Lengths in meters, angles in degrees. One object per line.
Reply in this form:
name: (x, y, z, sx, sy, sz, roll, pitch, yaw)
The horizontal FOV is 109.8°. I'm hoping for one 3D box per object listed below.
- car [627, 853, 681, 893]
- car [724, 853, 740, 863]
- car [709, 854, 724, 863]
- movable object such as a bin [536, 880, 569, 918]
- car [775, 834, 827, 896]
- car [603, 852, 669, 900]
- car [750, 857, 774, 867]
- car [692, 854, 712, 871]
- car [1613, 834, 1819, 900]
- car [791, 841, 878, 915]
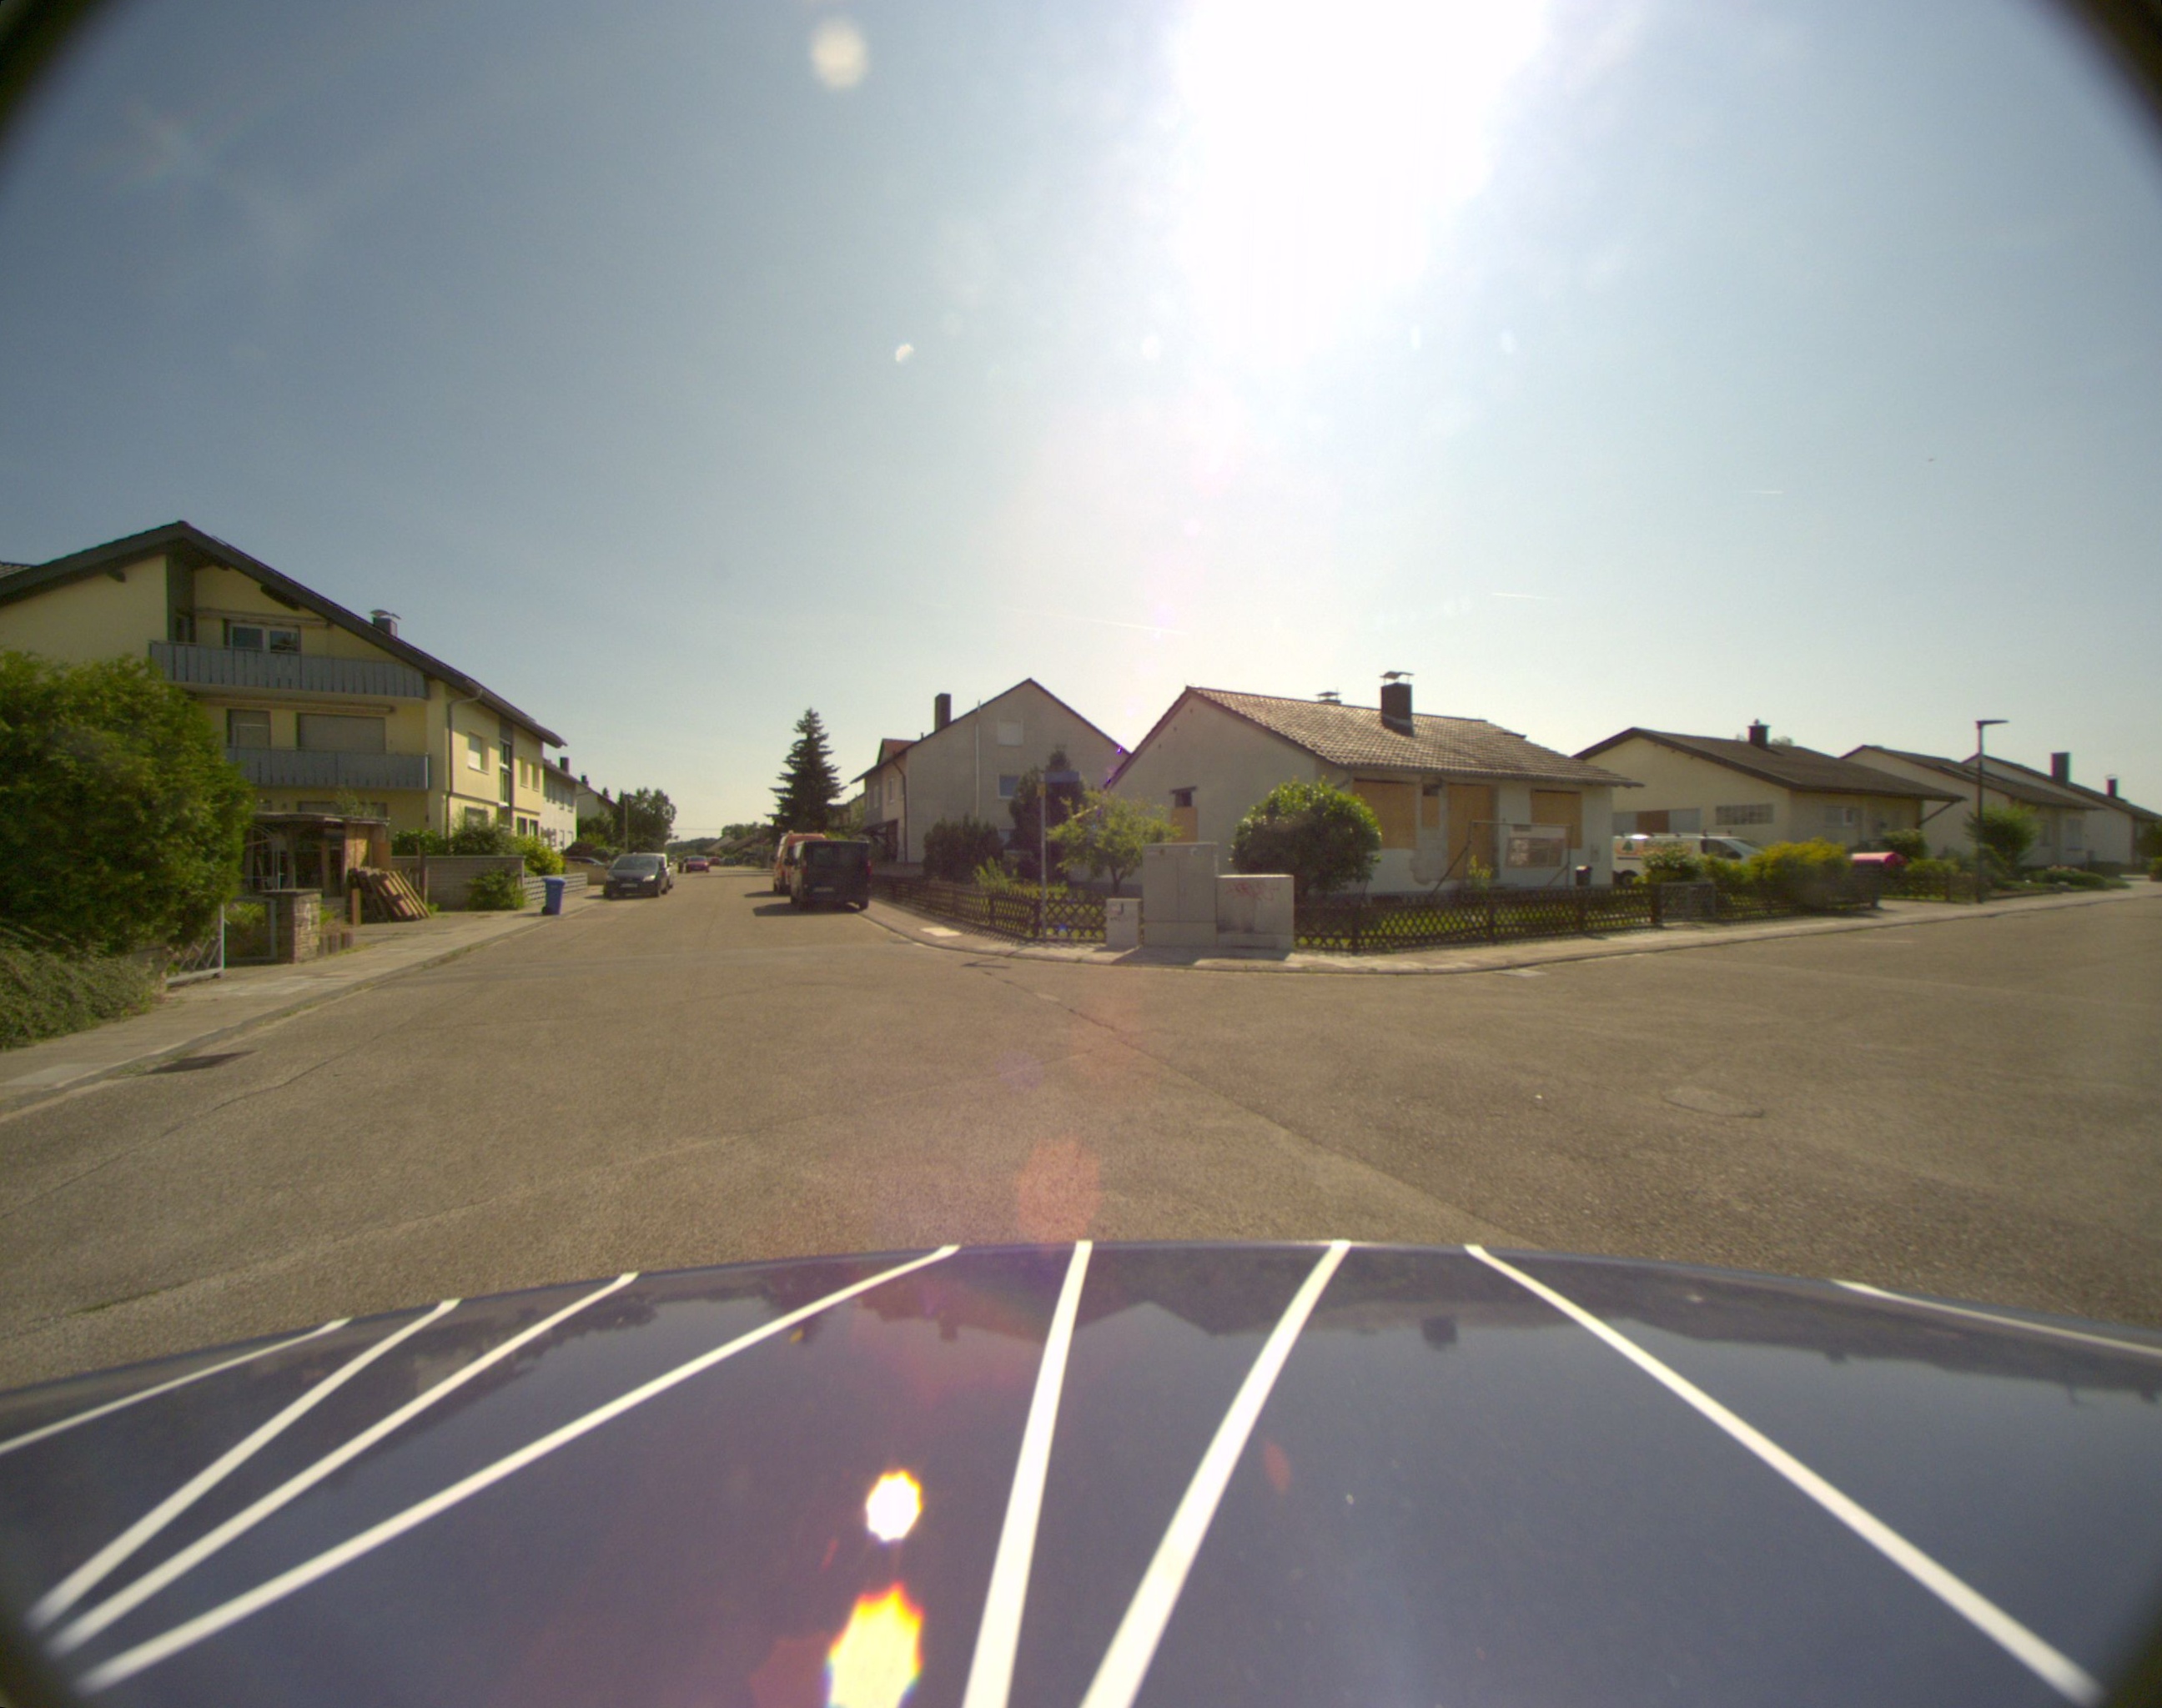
car: (-18.799, 0.777, 33.571, 1.635, 1.616, 3.992, -1, 0, -23)
car: (-52.711, 0.617, 114.767, 1.713, 1.332, 3.991, -1, -1, -33)
car: (-59.990, 0.781, 125.127, 1.713, 1.332, 3.991, -1, -1, -33)
movable object such as a bin: (-13.557, 1.138, 19.489, 0.585, 0.911, 0.596, -2, 1, -26)
car: (-11.338, 0.389, 30.661, 1.558, 2.310, 4.195, -1, 1, -25)
car: (-16.656, 0.772, 28.592, 1.635, 1.616, 3.992, -1, 0, -23)
car: (-52.562, 1.273, 125.126, 3.420, 1.521, 1.634, -1, 1, -31)
car: (-33.529, 0.731, 67.234, 1.520, 1.398, 3.669, -2, 0, -27)
car: (21.212, 0.367, 25.672, 1.870, 2.002, 5.001, -1, 1, -25)
car: (-7.294, 0.616, 22.197, 1.873, 1.927, 4.195, -1, 1, -25)
